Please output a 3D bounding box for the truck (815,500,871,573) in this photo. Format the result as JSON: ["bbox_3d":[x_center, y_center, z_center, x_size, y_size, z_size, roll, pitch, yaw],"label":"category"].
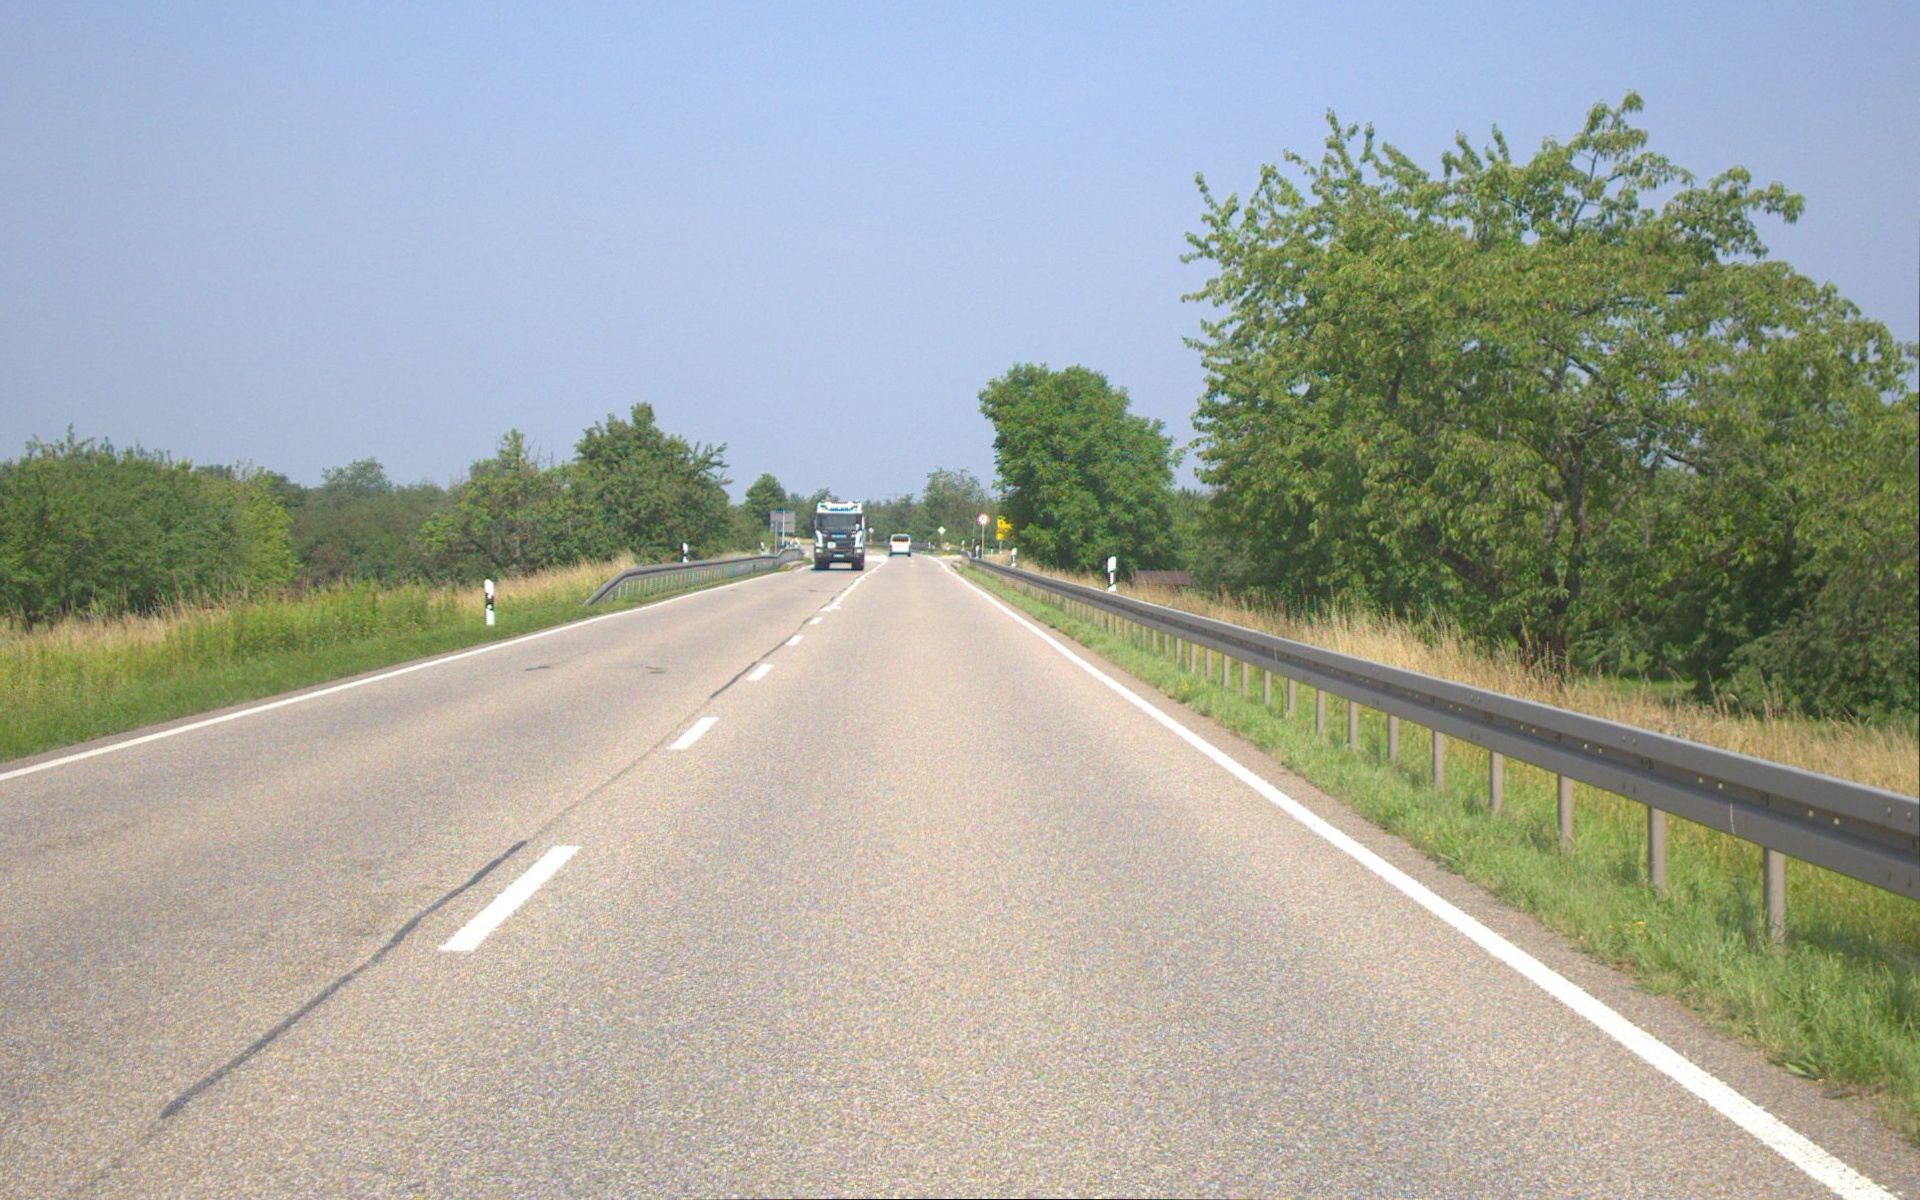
[{"bbox_3d":[-6.003,-3.234,177.529,2.728,3.659,9.384,1,0,-1],"label":"truck"}]
